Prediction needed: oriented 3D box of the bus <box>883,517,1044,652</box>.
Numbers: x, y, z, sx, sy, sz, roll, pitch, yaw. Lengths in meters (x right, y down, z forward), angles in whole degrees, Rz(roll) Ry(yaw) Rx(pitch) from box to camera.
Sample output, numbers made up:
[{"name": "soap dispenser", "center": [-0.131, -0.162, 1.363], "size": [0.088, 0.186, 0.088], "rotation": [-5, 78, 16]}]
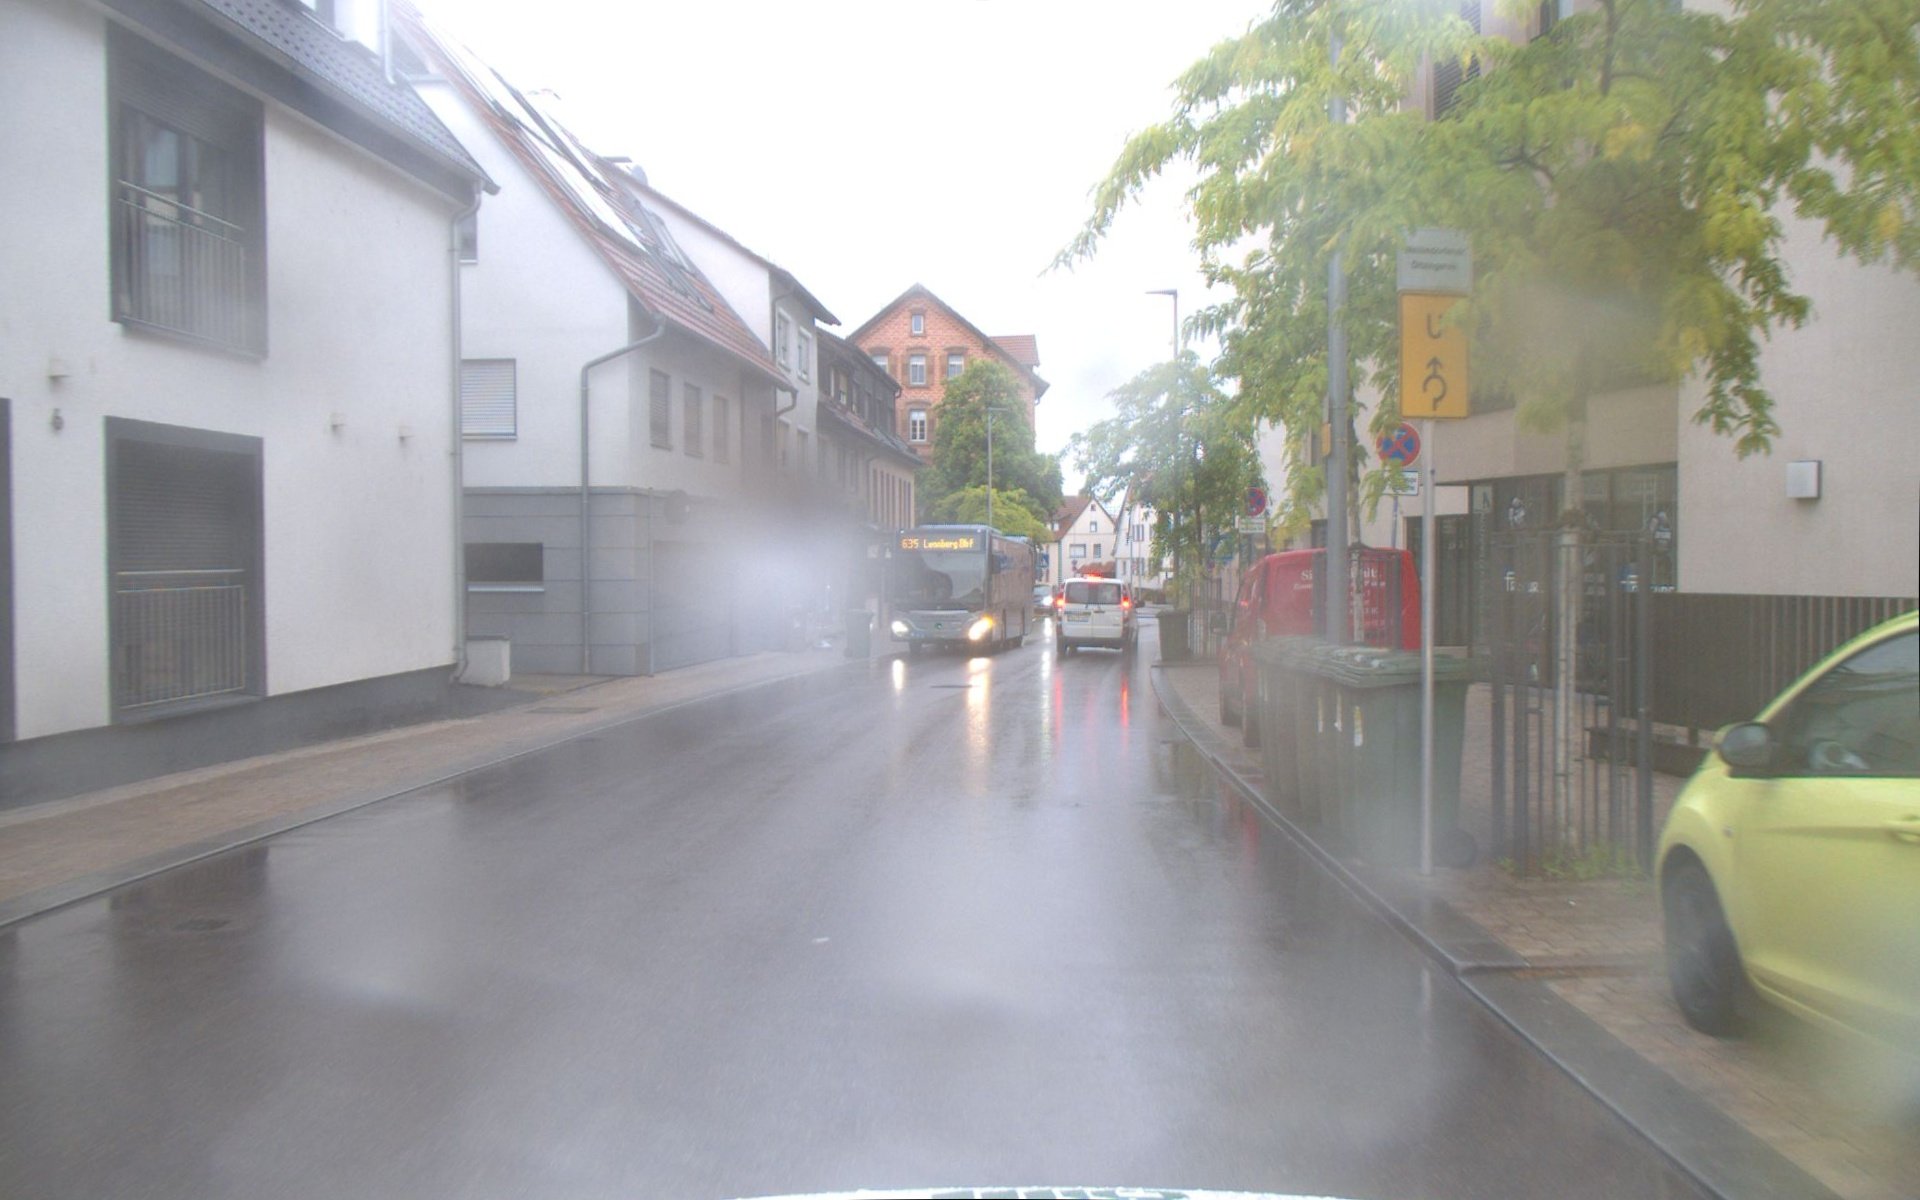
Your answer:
[{"name": "bus", "center": [0.345, -0.428, 44.315], "size": [2.665, 3.133, 10.956], "rotation": [1, 1, 9]}]

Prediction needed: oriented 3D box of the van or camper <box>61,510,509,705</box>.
[{"name": "van or camper", "center": [-8.758, 0.089, 21.737], "size": [4.920, 1.966, 2.001], "rotation": [6, 0, 4]}]

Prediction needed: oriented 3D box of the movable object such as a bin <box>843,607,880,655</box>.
[{"name": "movable object such as a bin", "center": [-2.254, 0.696, 37.744], "size": [0.725, 1.078, 0.727], "rotation": [1, 0, 4]}]

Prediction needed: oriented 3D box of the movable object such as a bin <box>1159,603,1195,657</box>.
[{"name": "movable object such as a bin", "center": [4.868, 0.669, 37.094], "size": [0.735, 1.191, 0.631], "rotation": [-1, -1, 12]}]

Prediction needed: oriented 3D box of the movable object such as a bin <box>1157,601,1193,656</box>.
[{"name": "movable object such as a bin", "center": [4.736, 0.631, 36.447], "size": [0.735, 1.191, 0.631], "rotation": [-1, -1, 12]}]

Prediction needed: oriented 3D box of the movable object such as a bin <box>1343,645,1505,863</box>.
[{"name": "movable object such as a bin", "center": [2.484, 0.808, 8.907], "size": [0.694, 1.106, 0.601], "rotation": [-1, 0, 0]}]

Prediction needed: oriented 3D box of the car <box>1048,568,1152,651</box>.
[{"name": "car", "center": [3.458, 0.233, 41.778], "size": [2.109, 1.932, 4.924], "rotation": [1, 0, -1]}]

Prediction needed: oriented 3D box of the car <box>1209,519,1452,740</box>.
[{"name": "car", "center": [3.679, 0.285, 17.207], "size": [1.797, 1.940, 4.607], "rotation": [-2, -1, 5]}]

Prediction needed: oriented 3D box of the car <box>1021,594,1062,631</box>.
[{"name": "car", "center": [3.756, 0.549, 75.978], "size": [1.749, 1.534, 4.472], "rotation": [1, 1, 4]}]

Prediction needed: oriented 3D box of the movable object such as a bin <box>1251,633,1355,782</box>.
[{"name": "movable object such as a bin", "center": [2.648, 0.819, 12.818], "size": [0.694, 1.106, 0.601], "rotation": [-1, 0, 3]}]

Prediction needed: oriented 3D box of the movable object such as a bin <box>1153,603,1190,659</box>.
[{"name": "movable object such as a bin", "center": [4.565, 0.661, 35.628], "size": [0.735, 1.191, 0.631], "rotation": [-1, -1, 12]}]

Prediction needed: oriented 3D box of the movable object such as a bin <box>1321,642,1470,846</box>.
[{"name": "movable object such as a bin", "center": [2.492, 0.810, 9.520], "size": [0.694, 1.106, 0.601], "rotation": [-1, 0, 0]}]

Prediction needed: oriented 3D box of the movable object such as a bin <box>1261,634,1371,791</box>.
[{"name": "movable object such as a bin", "center": [2.618, 0.817, 12.203], "size": [0.694, 1.106, 0.601], "rotation": [-1, 0, 3]}]

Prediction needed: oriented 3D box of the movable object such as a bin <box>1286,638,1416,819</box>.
[{"name": "movable object such as a bin", "center": [2.508, 0.814, 10.662], "size": [0.694, 1.106, 0.601], "rotation": [-1, 0, 0]}]

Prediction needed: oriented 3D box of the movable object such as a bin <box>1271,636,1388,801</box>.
[{"name": "movable object such as a bin", "center": [2.581, 0.819, 11.602], "size": [0.694, 1.106, 0.601], "rotation": [-1, 0, 3]}]

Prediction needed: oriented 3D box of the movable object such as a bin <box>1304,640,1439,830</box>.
[{"name": "movable object such as a bin", "center": [2.498, 0.811, 10.090], "size": [0.688, 1.106, 0.516], "rotation": [-1, 0, 0]}]

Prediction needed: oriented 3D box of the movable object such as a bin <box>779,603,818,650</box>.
[{"name": "movable object such as a bin", "center": [-3.796, 0.628, 38.950], "size": [0.776, 1.078, 0.702], "rotation": [1, 0, 4]}]

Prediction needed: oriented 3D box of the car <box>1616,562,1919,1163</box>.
[{"name": "car", "center": [3.283, 0.672, 4.539], "size": [1.604, 1.552, 3.635], "rotation": [-1, -1, 2]}]
